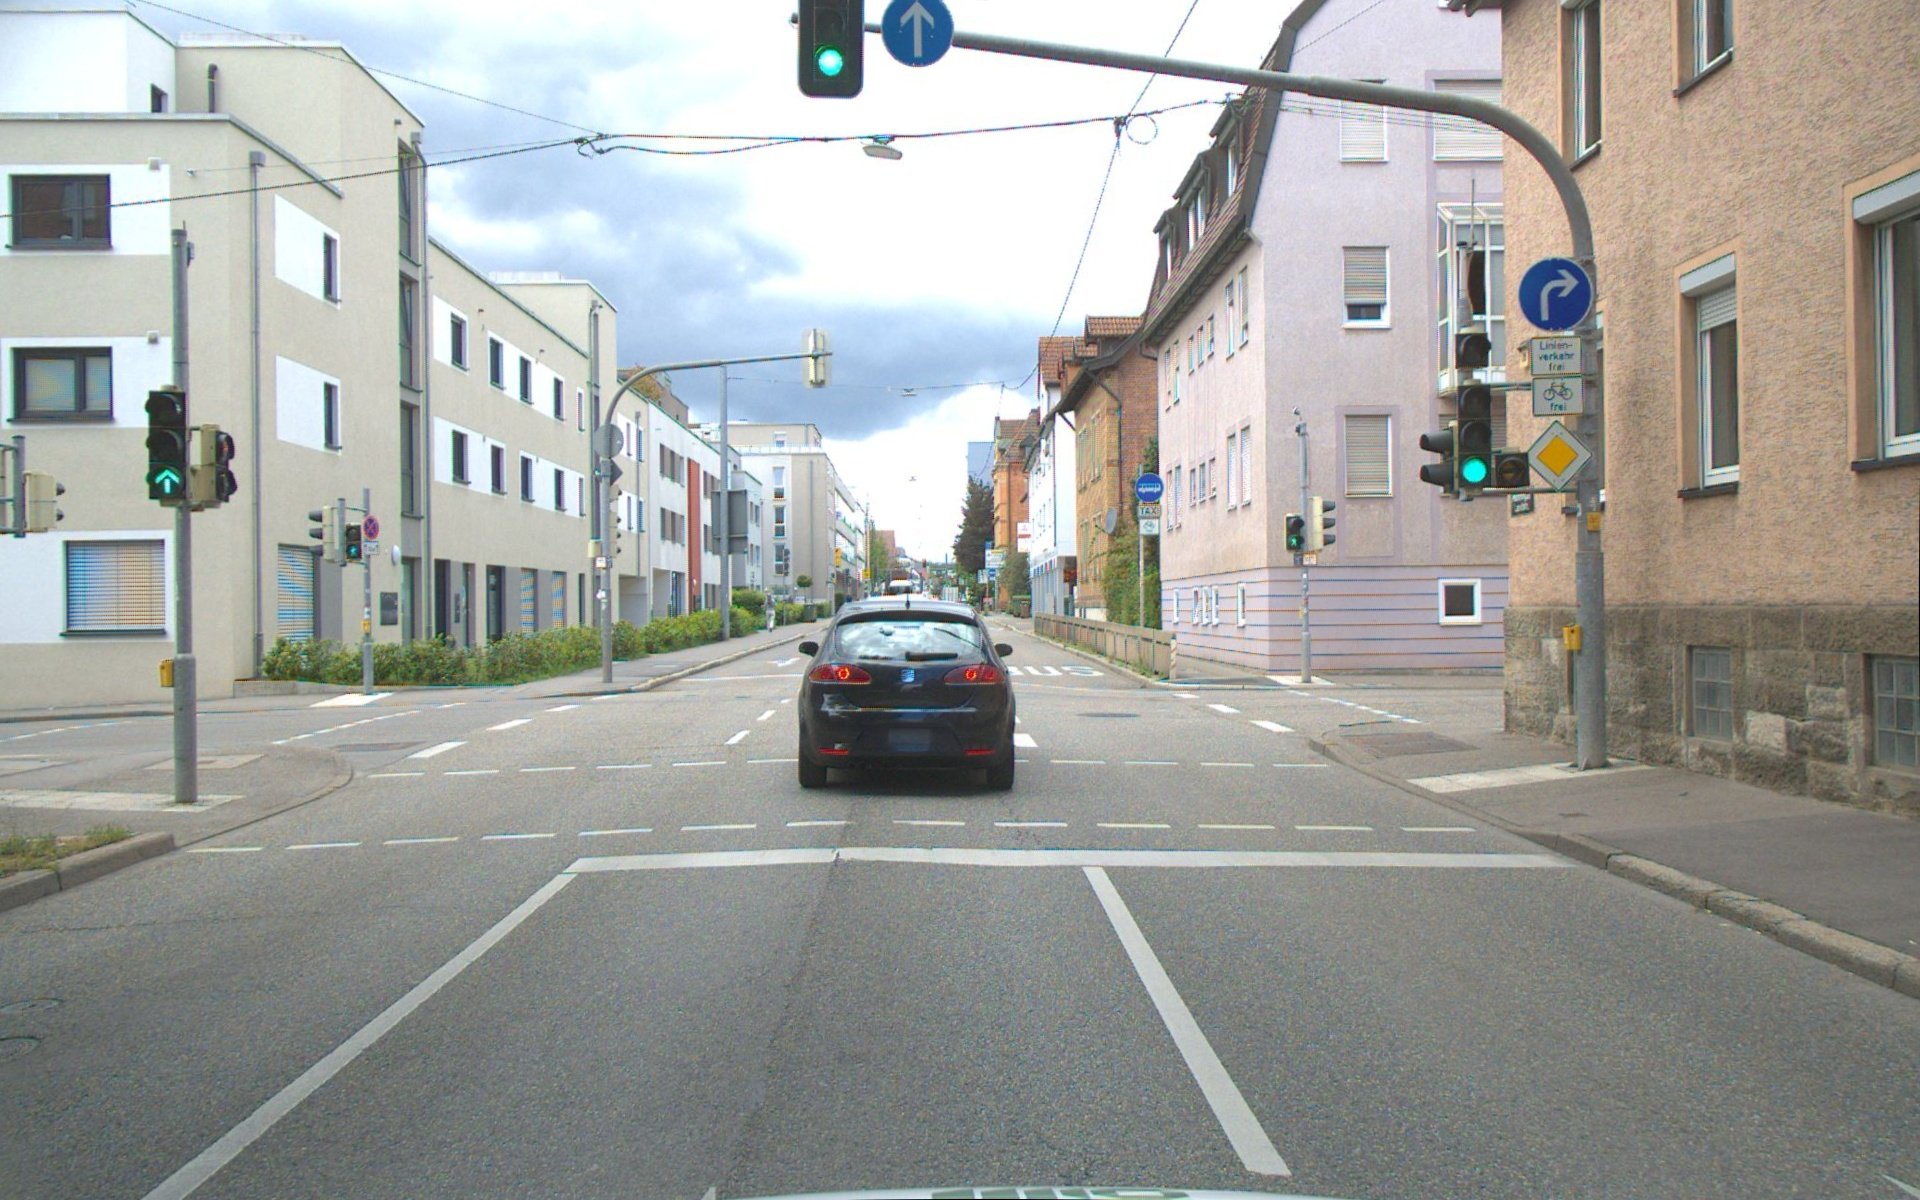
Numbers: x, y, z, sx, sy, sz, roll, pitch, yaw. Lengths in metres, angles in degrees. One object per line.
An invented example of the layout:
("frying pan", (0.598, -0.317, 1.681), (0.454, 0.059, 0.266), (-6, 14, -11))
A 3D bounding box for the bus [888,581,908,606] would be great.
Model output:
("bus", (-7.297, -0.731, 194.574), (2.165, 2.937, 8.917), (0, 0, -1))

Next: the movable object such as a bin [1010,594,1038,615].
("movable object such as a bin", (4.328, 0.307, 111.987), (1.781, 1.462, 1.992), (0, 0, 0))

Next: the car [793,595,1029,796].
("car", (-0.392, 0.711, 14.138), (1.723, 1.467, 3.999), (0, 0, -1))

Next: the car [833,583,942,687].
("car", (-1.265, 0.601, 29.659), (1.805, 1.723, 3.999), (0, 0, -1))

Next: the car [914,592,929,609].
("car", (-4.059, 0.024, 173.345), (1.500, 1.722, 3.692), (-1, 0, -1))

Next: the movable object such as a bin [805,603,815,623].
("movable object such as a bin", (-8.572, 0.744, 94.544), (0.538, 1.097, 0.611), (0, -1, 0))

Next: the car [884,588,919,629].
("car", (-2.561, 0.375, 72.978), (1.500, 1.723, 3.692), (0, 0, -1))

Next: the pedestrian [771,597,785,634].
("pedestrian", (-7.803, 0.673, 70.861), (0.516, 1.575, 0.541), (0, -1, -1))

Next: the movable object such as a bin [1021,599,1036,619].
("movable object such as a bin", (4.450, 0.583, 107.603), (0.909, 1.306, 0.883), (0, -1, 0))

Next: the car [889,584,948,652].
("car", (-1.094, 0.481, 44.052), (1.500, 1.723, 3.692), (0, 0, -1))

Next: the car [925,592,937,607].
("car", (-3.530, -0.085, 200.685), (1.500, 1.722, 3.692), (-1, 0, -1))

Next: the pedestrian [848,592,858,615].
("pedestrian", (-8.228, 0.295, 126.810), (0.716, 1.759, 0.859), (0, -1, -2))
